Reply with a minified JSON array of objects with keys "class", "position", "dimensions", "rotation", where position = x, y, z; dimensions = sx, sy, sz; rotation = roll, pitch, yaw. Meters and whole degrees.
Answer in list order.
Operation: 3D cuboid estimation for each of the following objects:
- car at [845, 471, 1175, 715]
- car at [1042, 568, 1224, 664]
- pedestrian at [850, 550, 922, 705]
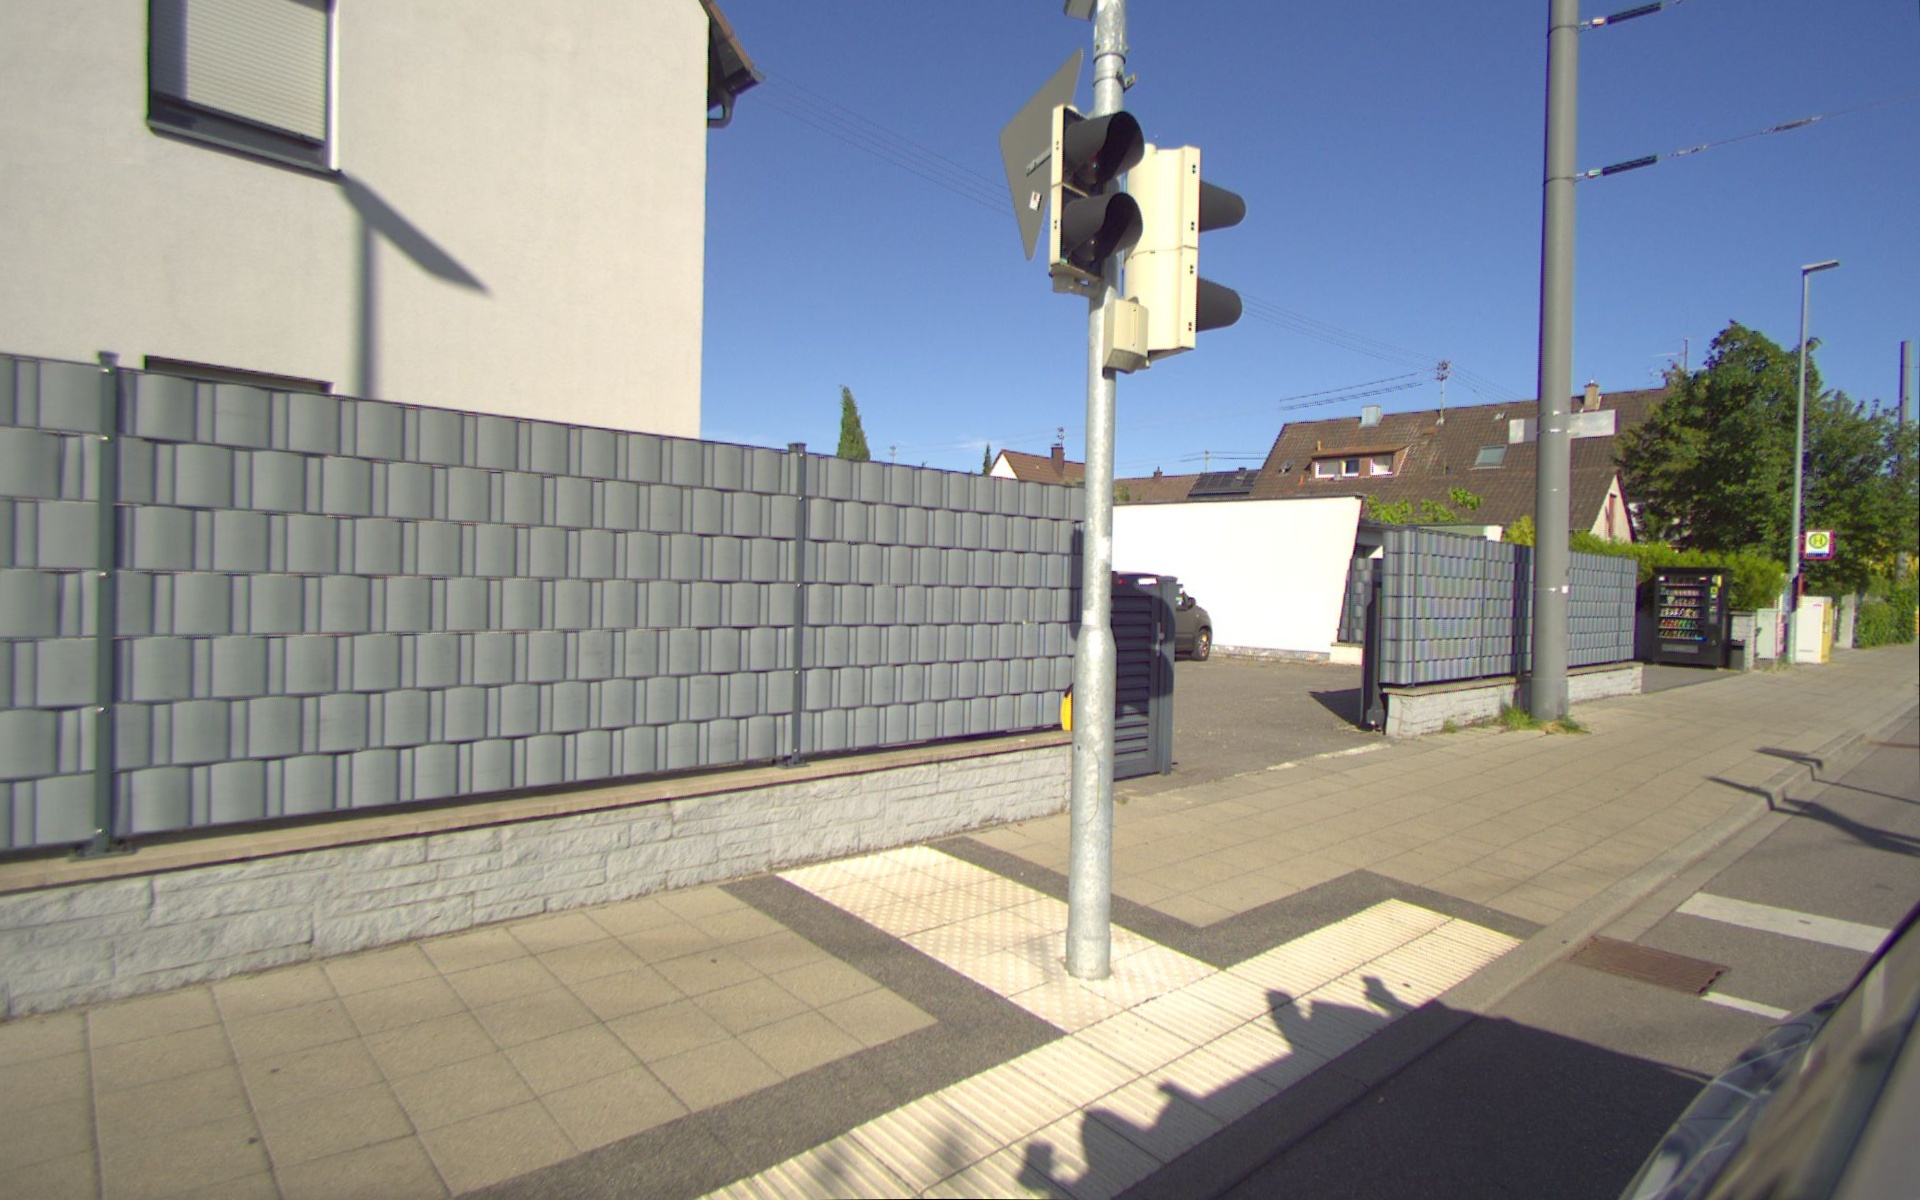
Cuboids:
[{"class":"car","position":[0.347,-0.159,12.880],"dimensions":[1.959,2.461,5.001],"rotation":[-1,2,-27]},{"class":"car","position":[3.034,0.202,17.333],"dimensions":[1.554,1.479,3.439],"rotation":[1,1,40]},{"class":"pedestrian","position":[-0.916,0.327,12.513],"dimensions":[0.662,1.838,0.555],"rotation":[-3,1,-24]}]
